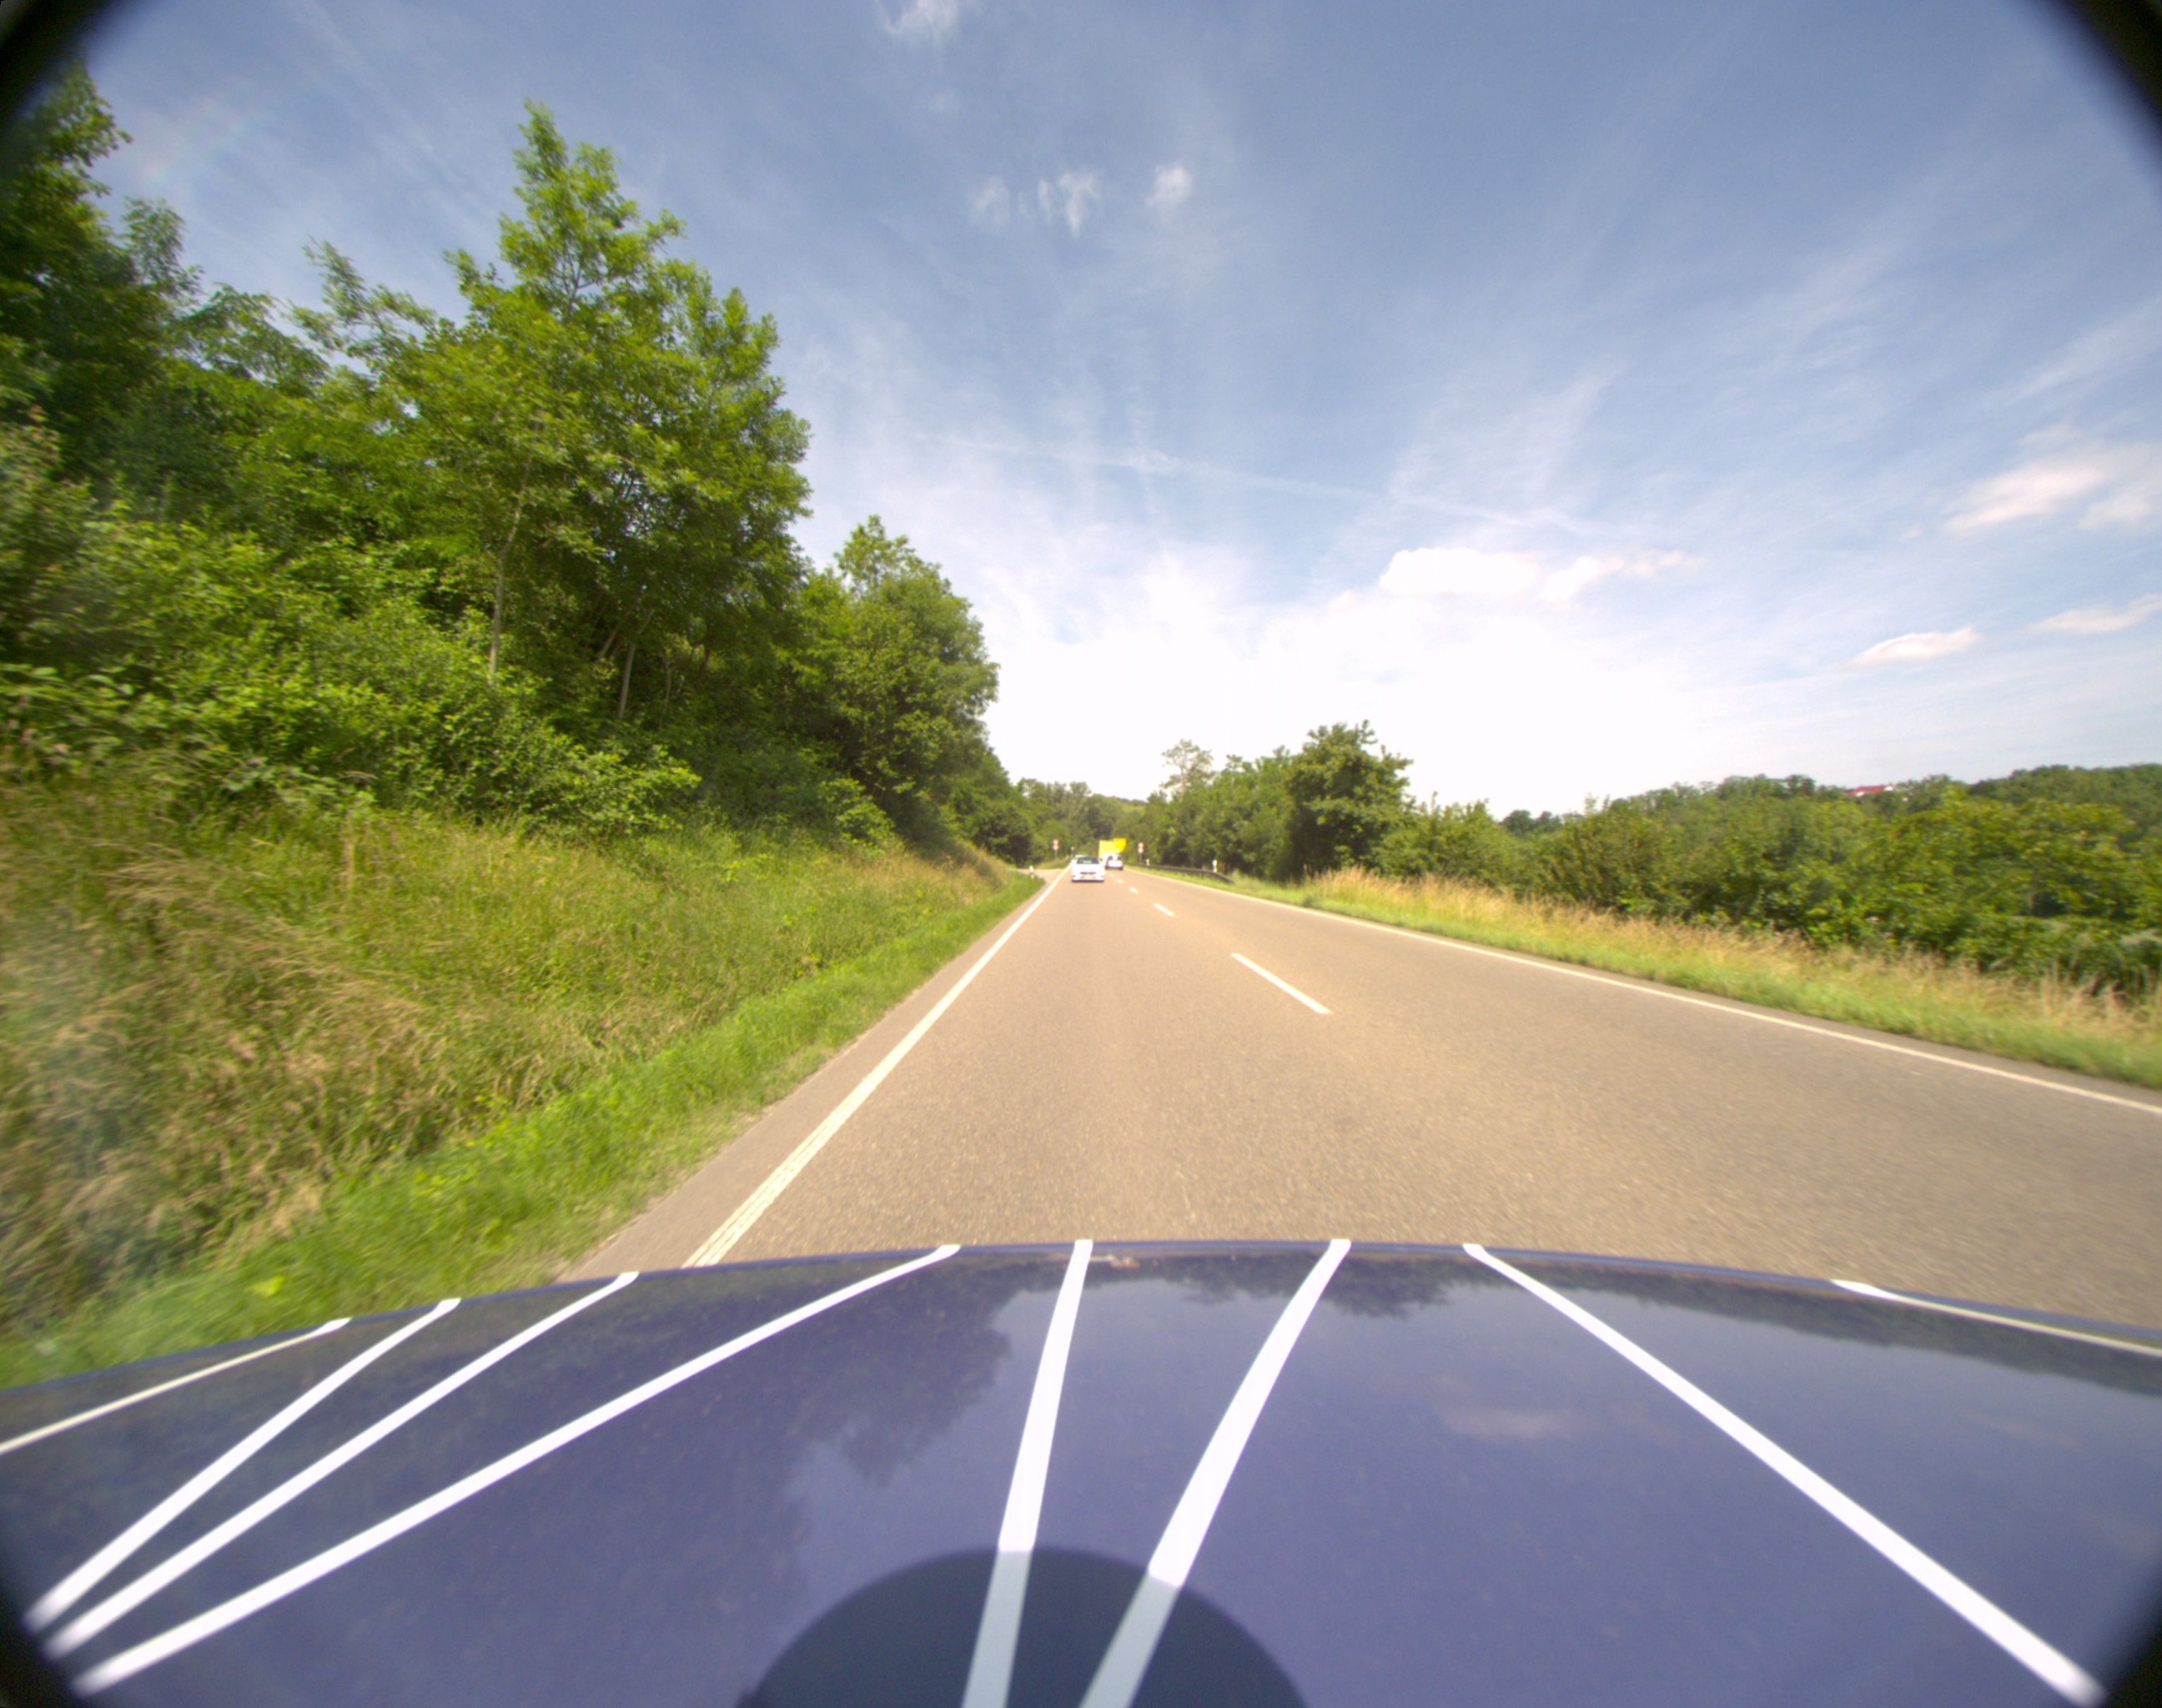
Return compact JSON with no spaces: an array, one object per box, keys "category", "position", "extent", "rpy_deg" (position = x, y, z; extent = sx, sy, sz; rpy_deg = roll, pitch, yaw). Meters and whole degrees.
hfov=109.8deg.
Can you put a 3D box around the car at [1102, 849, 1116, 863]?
[{"category":"car","position":[3.948,0.321,105.525],"extent":[1.841,1.834,4.226],"rpy_deg":[2,0,3]}]

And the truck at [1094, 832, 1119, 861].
[{"category":"truck","position":[4.174,-1.270,126.410],"extent":[3.339,4.503,8.574],"rpy_deg":[2,0,-3]}]

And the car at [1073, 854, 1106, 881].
[{"category":"car","position":[0.506,0.740,43.591],"extent":[1.772,1.437,4.000],"rpy_deg":[-2,0,1]}]

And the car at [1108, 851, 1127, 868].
[{"category":"car","position":[4.016,0.566,84.029],"extent":[1.842,1.834,4.224],"rpy_deg":[2,0,0]}]

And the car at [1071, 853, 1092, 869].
[{"category":"car","position":[0.065,0.644,74.248],"extent":[1.866,1.480,4.000],"rpy_deg":[-2,0,2]}]
